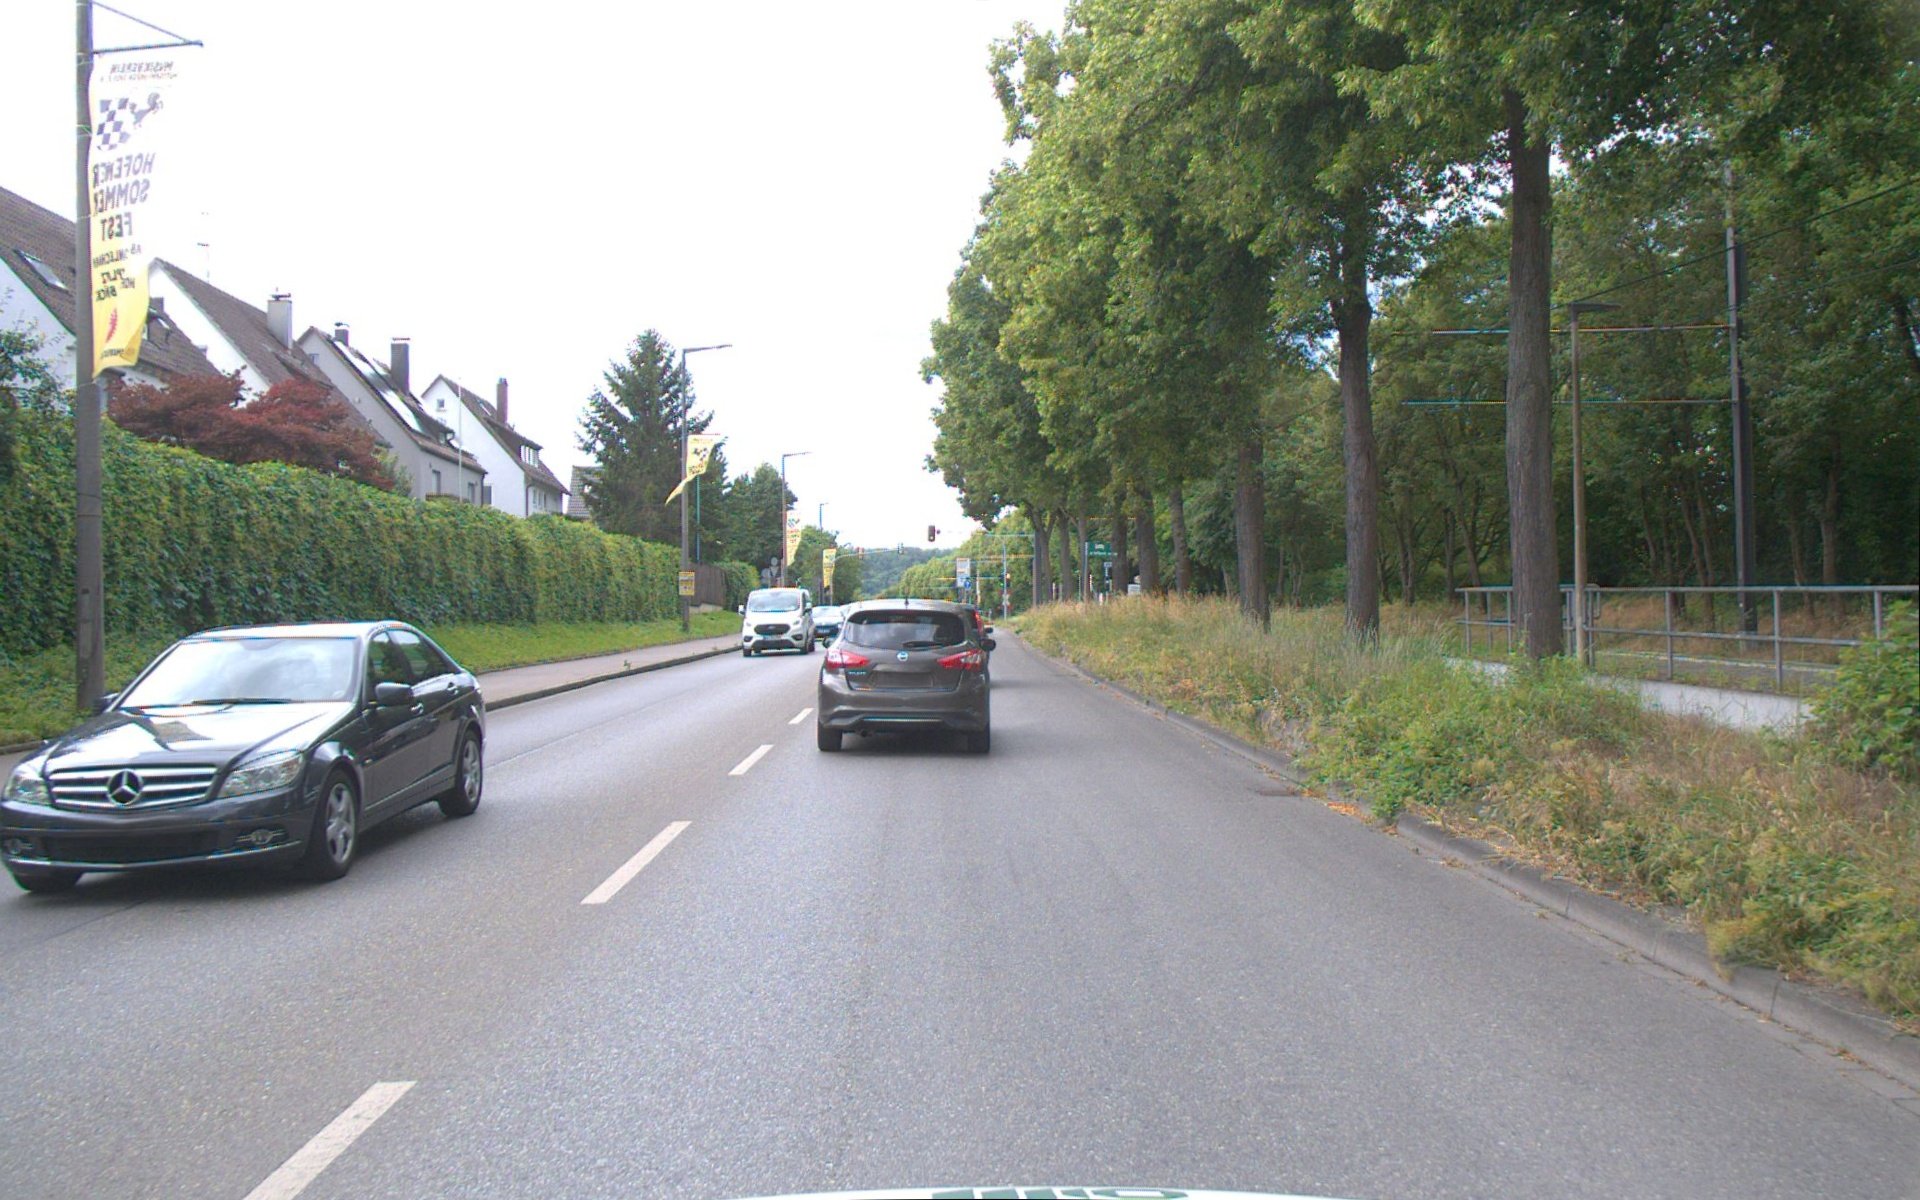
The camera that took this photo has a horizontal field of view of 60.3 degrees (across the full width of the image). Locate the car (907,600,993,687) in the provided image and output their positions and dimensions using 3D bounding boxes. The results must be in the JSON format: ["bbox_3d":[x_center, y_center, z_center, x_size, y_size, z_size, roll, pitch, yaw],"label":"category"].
[{"bbox_3d":[-0.197,0.763,30.770,1.507,1.504,3.763,0,0,-1],"label":"car"}]

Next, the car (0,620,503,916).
[{"bbox_3d":[-4.301,0.876,10.497,1.698,1.399,4.238,-2,0,-2],"label":"car"}]

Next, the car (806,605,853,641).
[{"bbox_3d":[-5.345,0.918,68.071,1.617,1.371,4.476,-2,0,-1],"label":"car"}]

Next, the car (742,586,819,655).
[{"bbox_3d":[-5.493,0.611,51.093,1.868,1.966,4.910,-1,0,-1],"label":"car"}]

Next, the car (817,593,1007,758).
[{"bbox_3d":[-0.488,0.728,18.095,1.798,1.545,4.482,1,0,-1],"label":"car"}]

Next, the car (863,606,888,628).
[{"bbox_3d":[-6.264,1.235,122.435,1.693,1.490,4.152,-2,0,-1],"label":"car"}]

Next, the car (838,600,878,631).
[{"bbox_3d":[-5.059,0.759,82.495,1.848,1.407,4.488,-2,0,-3],"label":"car"}]

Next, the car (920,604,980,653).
[{"bbox_3d":[-0.324,0.838,50.796,1.755,1.421,3.999,-1,0,-1],"label":"car"}]
